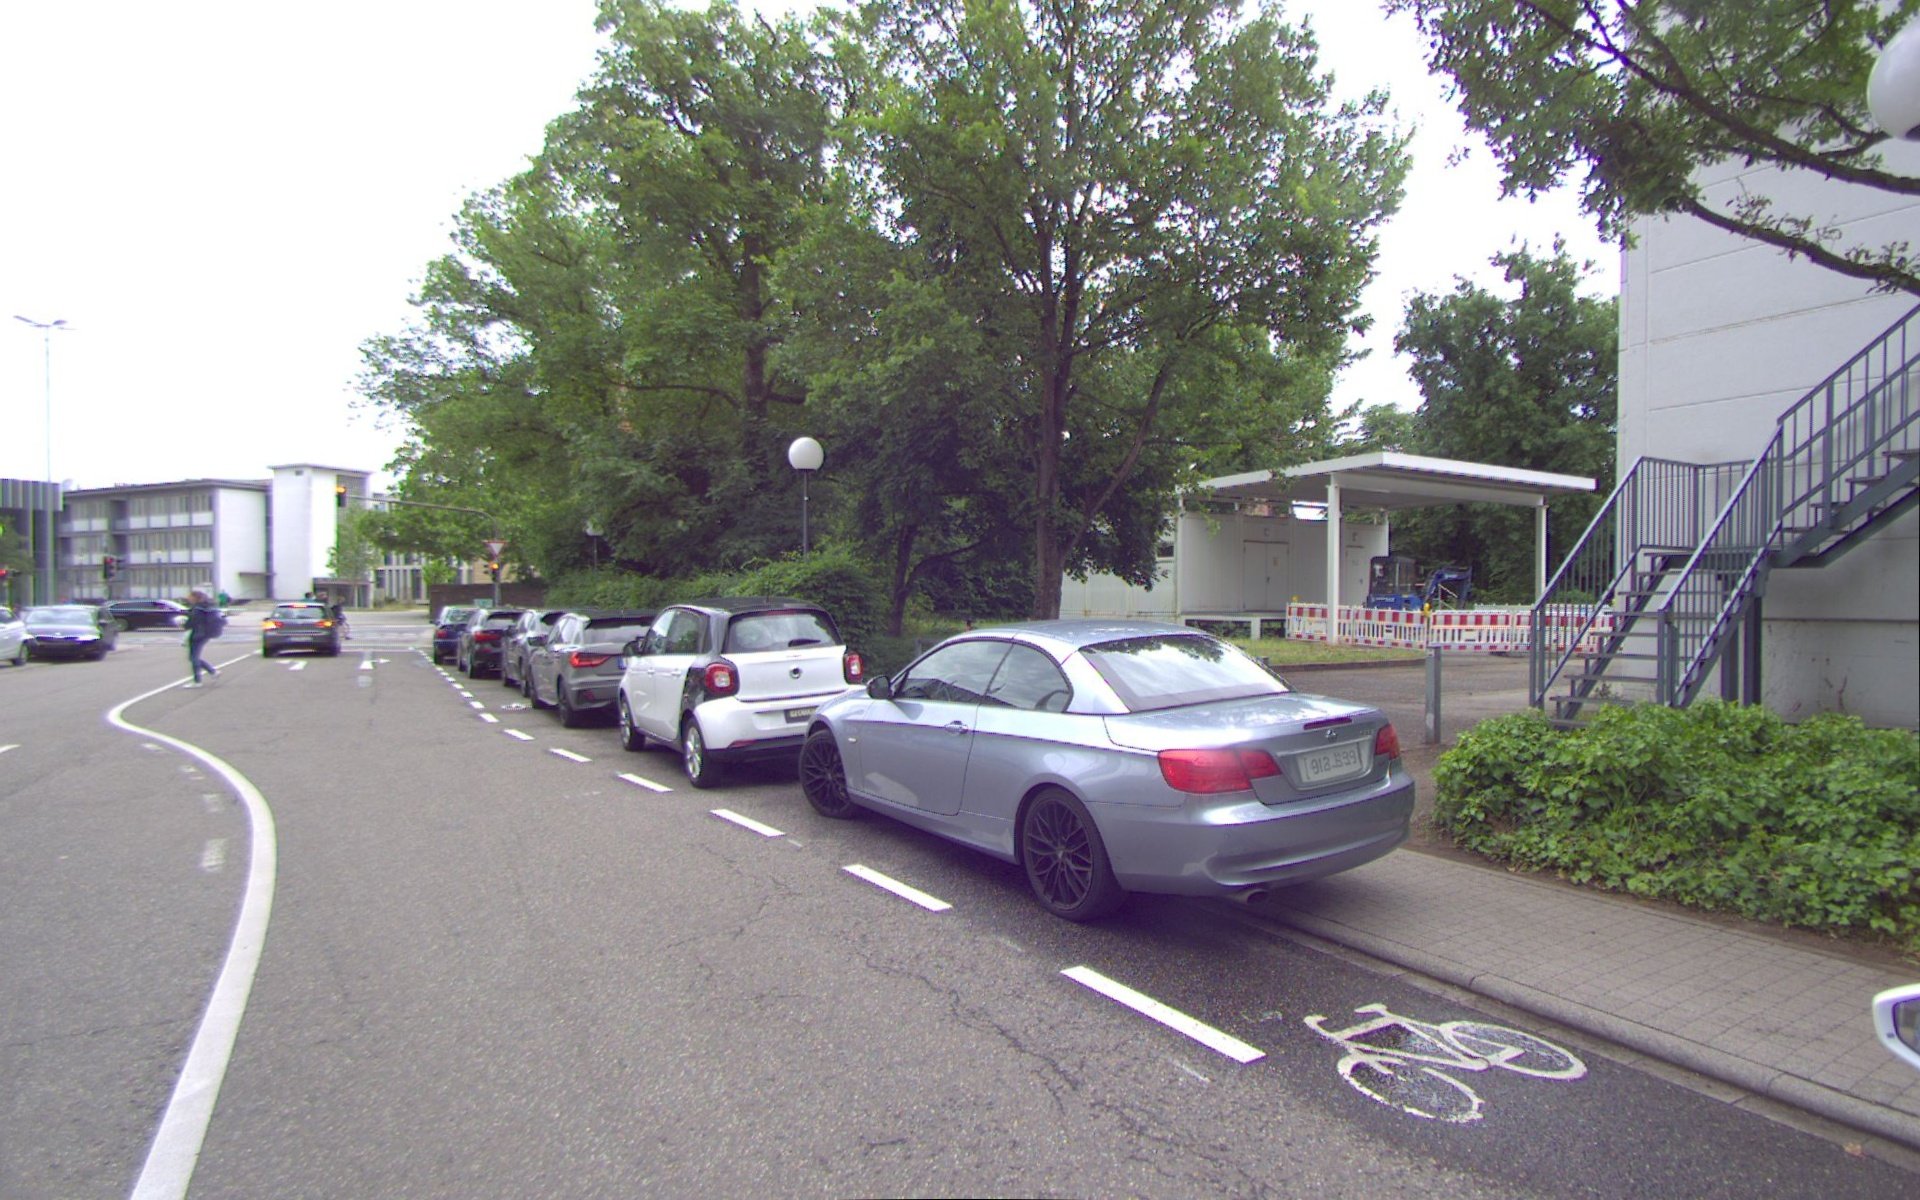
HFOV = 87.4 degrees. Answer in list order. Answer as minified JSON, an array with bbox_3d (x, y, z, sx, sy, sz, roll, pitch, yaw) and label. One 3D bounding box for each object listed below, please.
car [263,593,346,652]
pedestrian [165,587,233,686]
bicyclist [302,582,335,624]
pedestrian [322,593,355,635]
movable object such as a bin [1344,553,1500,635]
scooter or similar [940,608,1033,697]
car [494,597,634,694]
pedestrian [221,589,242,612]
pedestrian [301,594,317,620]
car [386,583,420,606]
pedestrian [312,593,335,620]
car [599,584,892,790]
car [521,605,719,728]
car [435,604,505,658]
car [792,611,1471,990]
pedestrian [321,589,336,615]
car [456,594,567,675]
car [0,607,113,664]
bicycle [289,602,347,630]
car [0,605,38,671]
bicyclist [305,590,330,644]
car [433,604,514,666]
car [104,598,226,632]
[{"bbox_3d":[-18.660,0.595,28.735,1.768,1.517,4.134,1,0,-30],"label":"car"},{"bbox_3d":[-13.417,0.635,17.738,0.731,1.684,0.962,1,-1,-25],"label":"pedestrian"},{"bbox_3d":[-25.932,0.125,40.615,0.862,1.663,0.865,0,0,36],"label":"bicyclist"},{"bbox_3d":[-24.569,0.558,39.681,1.035,1.641,0.650,0,1,-40],"label":"pedestrian"},{"bbox_3d":[13.426,-0.127,29.087,4.622,2.200,1.981,2,0,-34],"label":"movable object such as a bin"},{"bbox_3d":[0.382,0.733,14.331,1.280,1.226,0.451,0,1,10],"label":"scooter or similar"},{"bbox_3d":[-7.098,0.720,17.785,1.747,1.491,3.793,1,0,-30],"label":"car"},{"bbox_3d":[-54.812,0.050,75.572,0.889,1.737,0.950,1,1,-9],"label":"pedestrian"},{"bbox_3d":[-42.128,0.440,64.959,0.612,1.688,0.618,0,1,21],"label":"pedestrian"},{"bbox_3d":[-55.470,-0.529,100.100,1.969,1.600,4.389,-8,-4,-18],"label":"car"},{"bbox_3d":[-41.721,0.424,65.843,0.877,1.812,0.846,0,1,17],"label":"pedestrian"},{"bbox_3d":[-2.301,0.691,9.945,1.702,1.607,3.845,0,0,-31],"label":"car"},{"bbox_3d":[-4.796,0.780,13.812,1.749,1.430,3.974,0,0,-32],"label":"car"},{"bbox_3d":[-15.317,0.911,31.293,1.781,1.489,4.216,1,0,-28],"label":"car"},{"bbox_3d":[0.626,0.804,6.154,1.804,1.407,4.156,0,0,-33],"label":"car"},{"bbox_3d":[-41.972,0.125,66.760,0.562,1.687,0.623,0,1,16],"label":"pedestrian"},{"bbox_3d":[-9.968,0.701,22.141,1.782,1.581,4.493,1,-1,-30],"label":"car"},{"bbox_3d":[-25.032,0.928,27.776,4.414,1.420,1.856,0,0,42],"label":"car"},{"bbox_3d":[-25.938,0.620,40.609,0.862,1.108,1.794,0,0,36],"label":"bicycle"},{"bbox_3d":[-23.131,0.870,23.244,1.845,1.472,3.827,0,0,-30],"label":"car"},{"bbox_3d":[-21.948,0.578,34.313,0.653,1.803,0.973,1,1,-37],"label":"bicyclist"},{"bbox_3d":[-12.947,0.871,26.727,1.780,1.427,4.307,1,0,-26],"label":"car"},{"bbox_3d":[-37.173,0.665,47.132,4.243,1.509,1.983,0,1,-31],"label":"car"}]
